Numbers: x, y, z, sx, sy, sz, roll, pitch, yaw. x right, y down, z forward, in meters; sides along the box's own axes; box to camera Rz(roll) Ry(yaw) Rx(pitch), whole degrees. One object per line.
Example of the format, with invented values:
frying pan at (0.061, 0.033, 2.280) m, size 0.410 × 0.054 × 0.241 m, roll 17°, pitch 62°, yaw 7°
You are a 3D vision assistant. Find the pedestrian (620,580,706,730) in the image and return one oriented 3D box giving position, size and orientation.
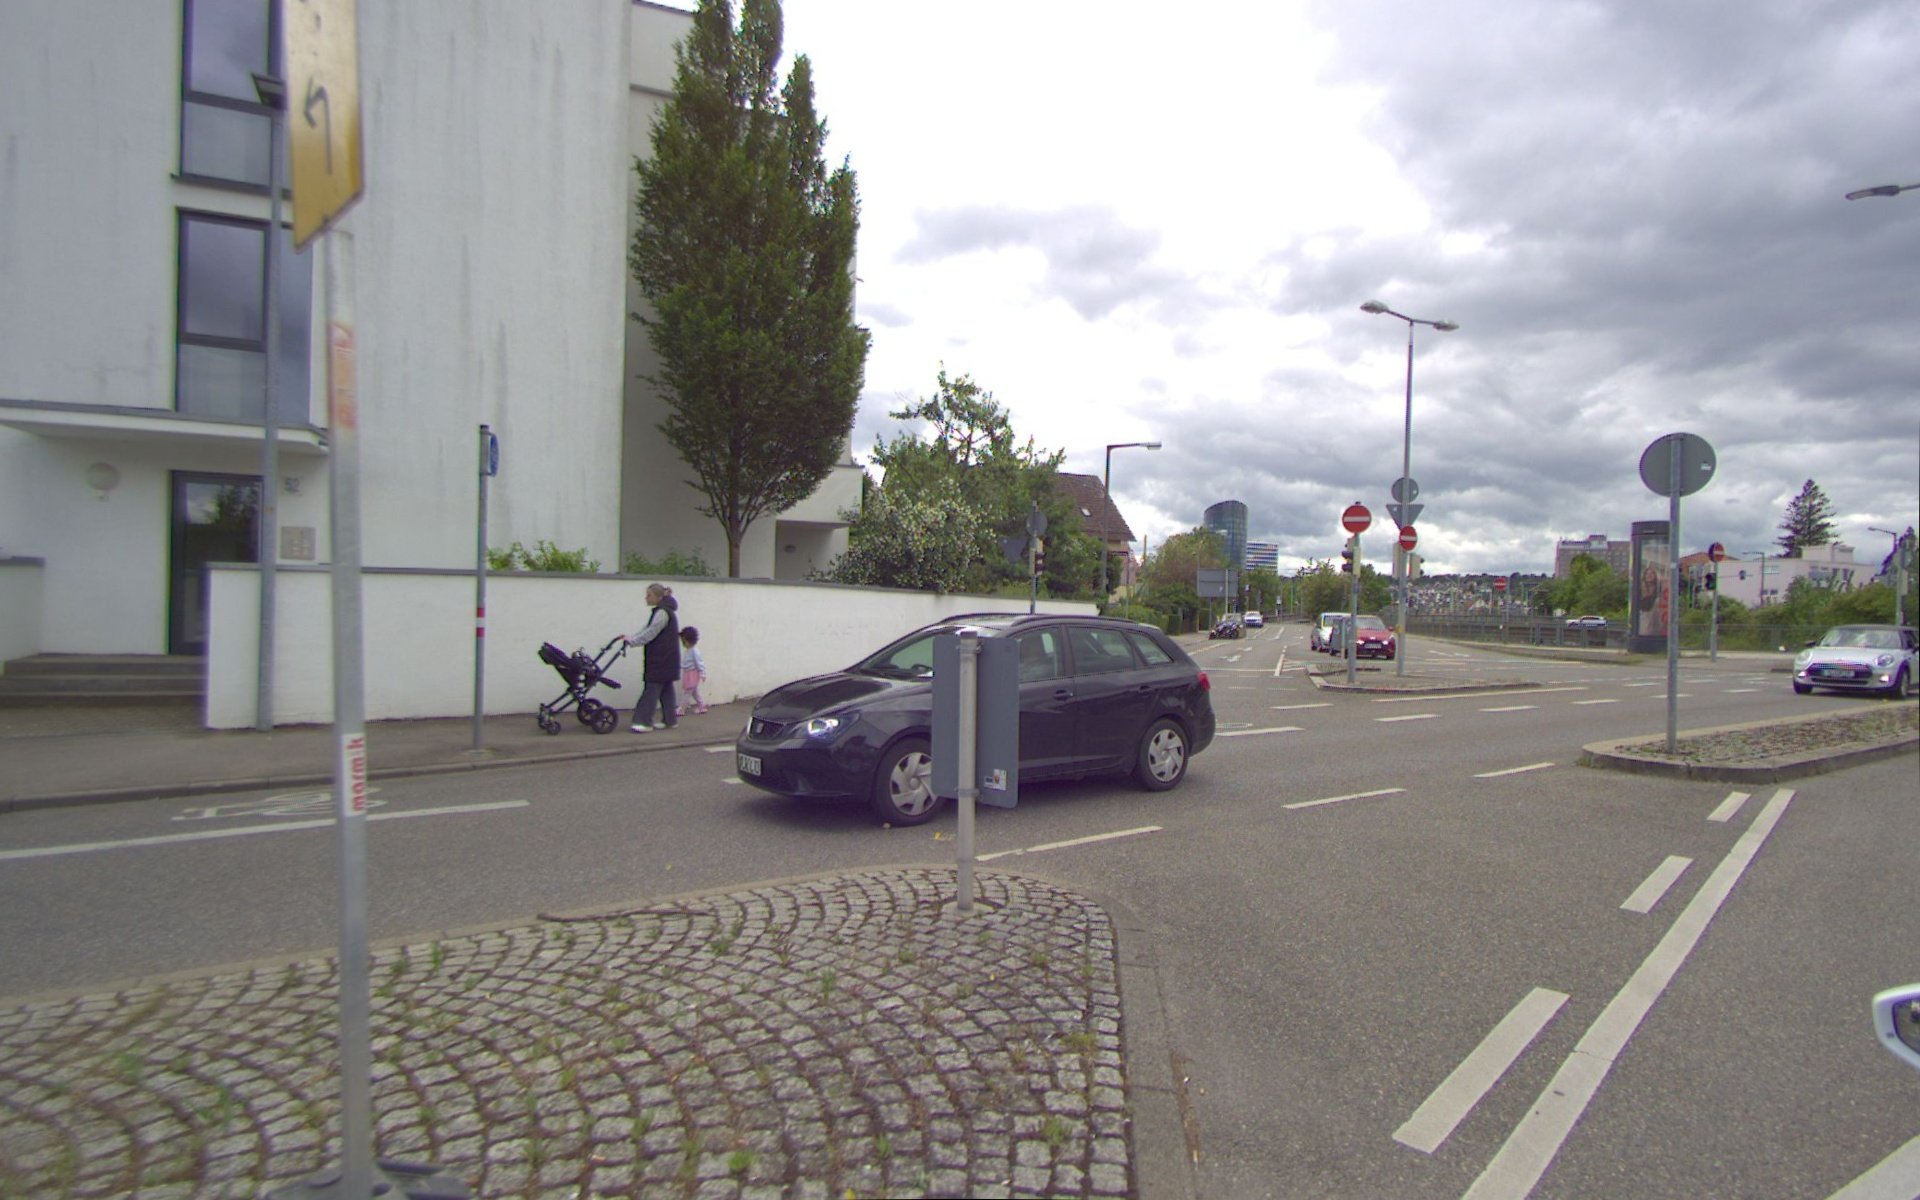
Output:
pedestrian at (-3.267, 0.584, 11.047) m, size 0.724 × 1.564 × 0.527 m, roll 1°, pitch 5°, yaw -35°

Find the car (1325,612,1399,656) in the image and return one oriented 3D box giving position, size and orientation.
car at (14.152, 1.196, 35.524) m, size 1.739 × 1.466 × 3.706 m, roll 0°, pitch -2°, yaw 11°

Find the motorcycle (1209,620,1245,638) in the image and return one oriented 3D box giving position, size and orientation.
motorcycle at (16.716, 1.832, 62.926) m, size 2.086 × 1.012 × 0.701 m, roll 2°, pitch -4°, yaw -14°

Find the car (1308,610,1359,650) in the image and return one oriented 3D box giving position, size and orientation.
car at (15.378, 1.242, 41.478) m, size 1.614 × 1.555 × 4.132 m, roll 0°, pitch -2°, yaw 15°

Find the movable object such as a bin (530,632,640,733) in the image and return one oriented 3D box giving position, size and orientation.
movable object such as a bin at (-3.961, 0.851, 10.610) m, size 0.976 × 0.973 × 0.494 m, roll 1°, pitch 5°, yaw -35°

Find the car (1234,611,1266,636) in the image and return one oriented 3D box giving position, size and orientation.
car at (19.857, 1.586, 68.989) m, size 1.960 × 1.629 × 4.378 m, roll 1°, pitch 0°, yaw 15°

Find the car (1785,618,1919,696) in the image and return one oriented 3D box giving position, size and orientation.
car at (18.730, 1.131, 20.751) m, size 3.780 × 1.428 × 1.632 m, roll 1°, pitch 0°, yaw -35°

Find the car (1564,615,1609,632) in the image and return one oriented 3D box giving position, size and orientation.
car at (68.178, 2.546, 109.330) m, size 3.925 × 1.685 × 1.734 m, roll 2°, pitch 2°, yaw 27°

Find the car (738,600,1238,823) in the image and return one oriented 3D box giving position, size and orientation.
car at (0.344, 0.765, 8.221) m, size 3.881 × 1.409 × 1.708 m, roll 2°, pitch -2°, yaw -36°

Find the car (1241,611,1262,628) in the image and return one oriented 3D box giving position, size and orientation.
car at (29.607, 2.008, 102.215) m, size 1.862 × 1.629 × 4.378 m, roll 1°, pitch 0°, yaw 15°

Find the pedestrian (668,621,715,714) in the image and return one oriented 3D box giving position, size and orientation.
pedestrian at (-3.209, 0.794, 12.002) m, size 0.439 × 1.076 × 0.323 m, roll 1°, pitch 2°, yaw -34°
